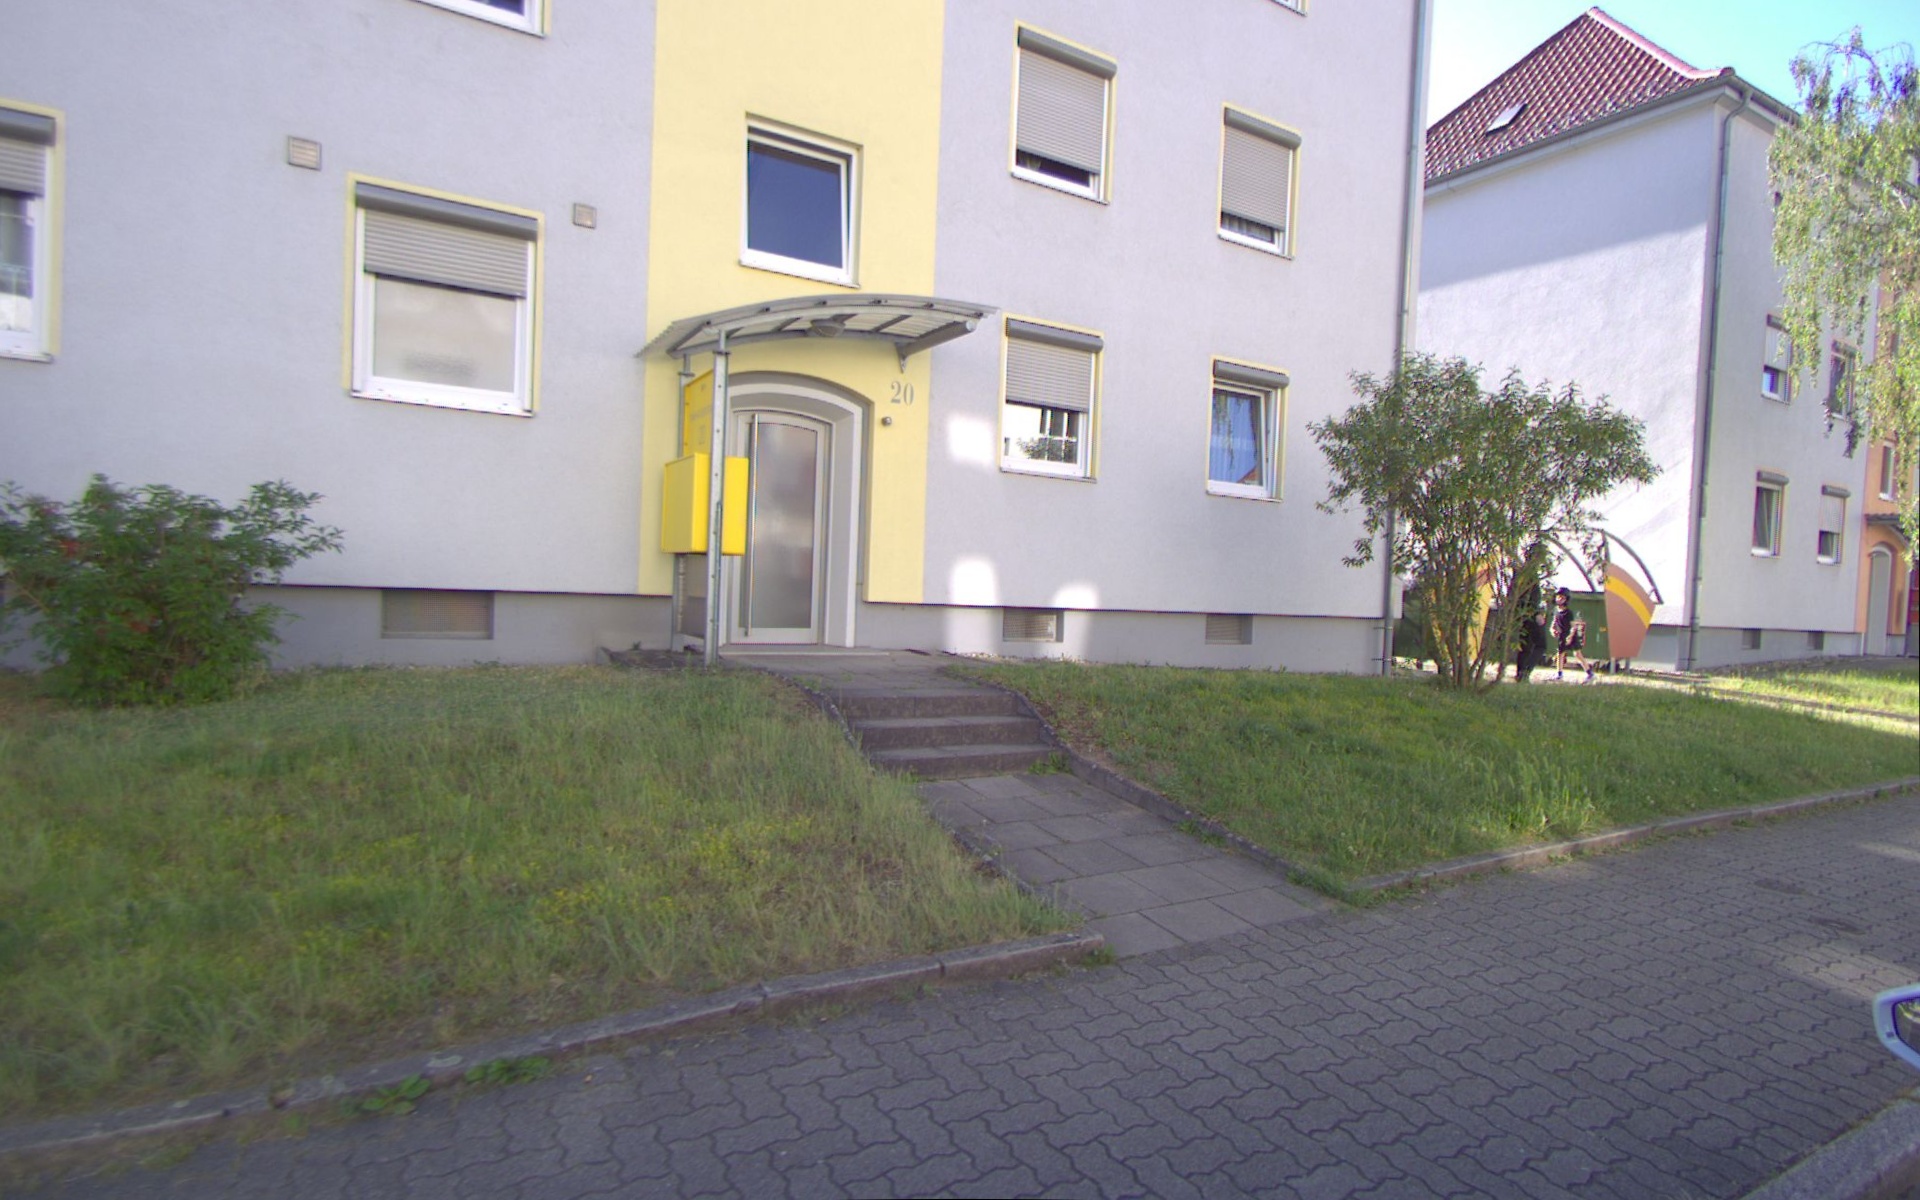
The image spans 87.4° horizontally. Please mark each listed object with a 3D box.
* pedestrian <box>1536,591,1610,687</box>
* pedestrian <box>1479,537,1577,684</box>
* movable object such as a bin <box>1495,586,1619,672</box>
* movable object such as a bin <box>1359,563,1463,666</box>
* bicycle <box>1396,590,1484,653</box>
[{"bbox_3d":[8.898,0.551,14.581,0.569,1.335,0.683,2,1,-29],"label":"pedestrian"},{"bbox_3d":[7.444,0.135,13.183,0.710,1.848,0.802,2,1,-29],"label":"pedestrian"},{"bbox_3d":[10.460,0.492,17.638,1.214,1.354,1.380,1,3,-30],"label":"movable object such as a bin"},{"bbox_3d":[6.628,0.194,14.801,0.803,1.425,1.079,1,2,-29],"label":"movable object such as a bin"},{"bbox_3d":[9.092,0.412,18.991,1.828,1.132,0.529,1,3,-31],"label":"bicycle"}]
